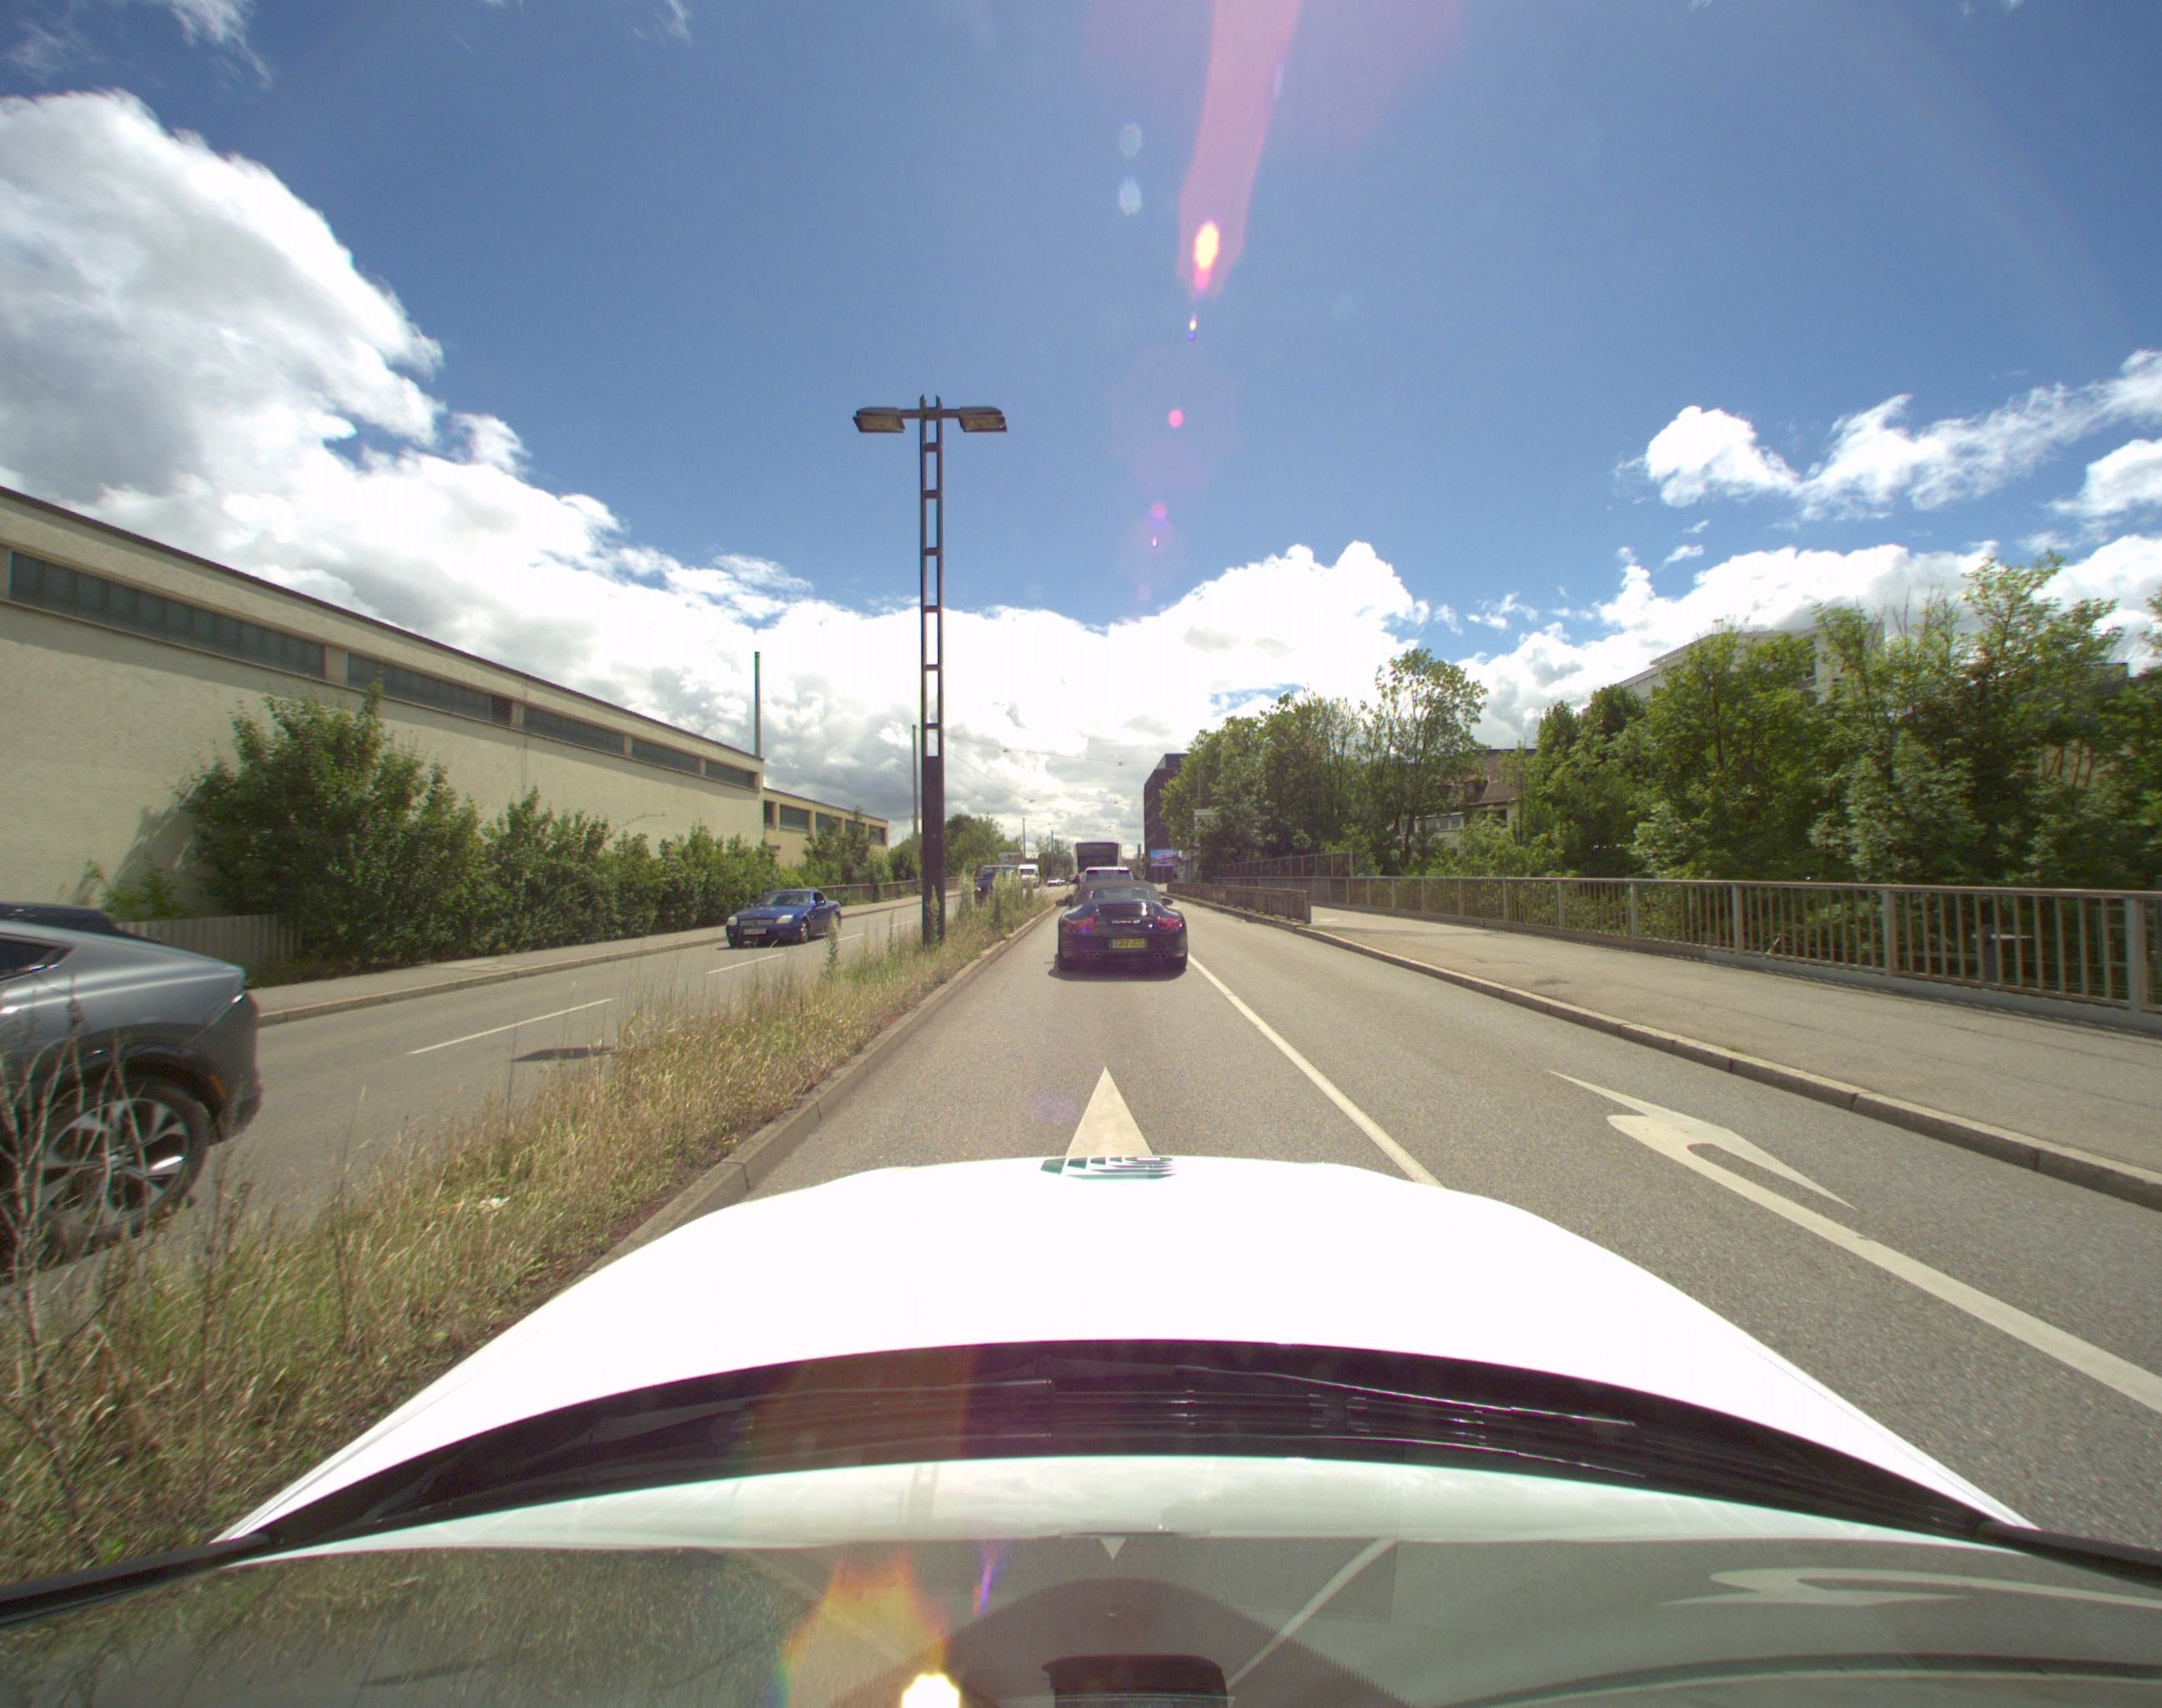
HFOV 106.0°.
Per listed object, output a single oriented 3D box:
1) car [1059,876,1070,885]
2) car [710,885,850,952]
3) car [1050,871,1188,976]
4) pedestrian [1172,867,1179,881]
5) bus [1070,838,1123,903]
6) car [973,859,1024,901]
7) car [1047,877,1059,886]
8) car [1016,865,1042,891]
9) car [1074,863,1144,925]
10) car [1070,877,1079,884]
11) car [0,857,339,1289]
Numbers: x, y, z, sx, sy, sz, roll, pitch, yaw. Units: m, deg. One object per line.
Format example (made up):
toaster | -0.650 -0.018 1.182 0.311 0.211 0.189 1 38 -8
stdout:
car | -2.994 4.853 147.914 1.804 1.560 4.206 0 -2 0
car | -7.160 1.483 19.820 1.748 1.276 4.001 -3 -1 1
car | 0.434 0.967 12.901 1.717 1.275 4.081 0 0 -4
pedestrian | 11.826 2.476 101.456 0.673 1.696 0.602 -2 -2 26
bus | 1.033 0.742 48.186 2.678 3.255 12.065 1 1 2
car | -3.889 1.210 39.185 1.987 1.888 4.867 -1 -1 -1
car | -4.377 4.272 126.646 1.631 1.363 4.195 -1 -1 1
car | -5.509 2.520 86.679 2.059 2.571 6.822 -2 -1 1
car | 0.824 1.085 23.917 1.872 1.594 4.231 0 0 2
car | -1.359 5.368 167.280 1.622 1.431 4.000 -1 -2 1
car | -5.077 0.876 2.237 1.871 1.627 4.444 -2 0 1
